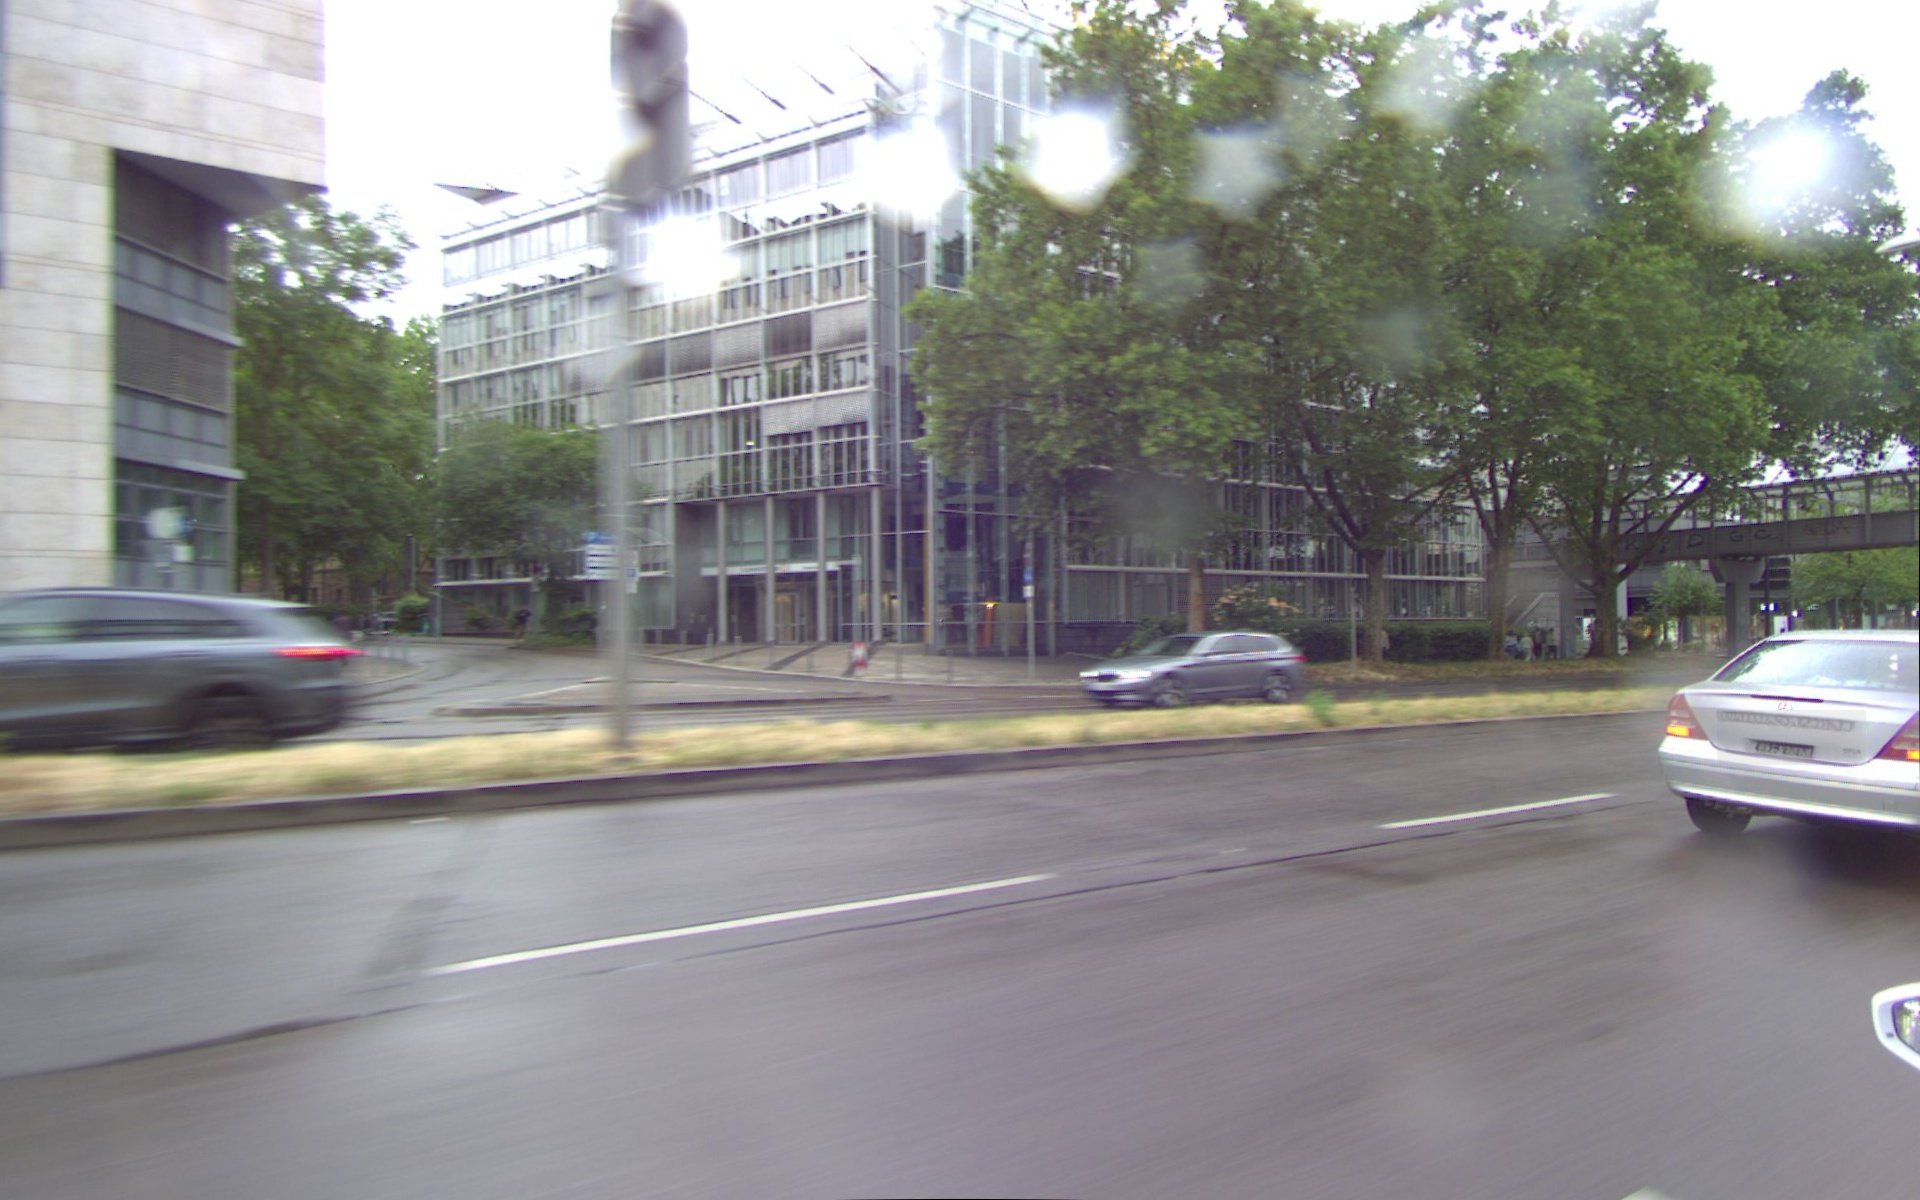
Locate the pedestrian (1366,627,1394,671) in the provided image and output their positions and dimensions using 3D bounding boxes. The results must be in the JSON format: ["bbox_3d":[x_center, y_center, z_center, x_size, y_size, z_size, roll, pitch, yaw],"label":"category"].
[{"bbox_3d":[17.478,2.026,41.780,0.793,1.831,0.731,1,-1,-30],"label":"pedestrian"}]

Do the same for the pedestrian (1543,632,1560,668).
[{"bbox_3d":[28.743,2.421,48.810,0.505,1.708,0.557,1,-1,-30],"label":"pedestrian"}]

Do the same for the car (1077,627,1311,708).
[{"bbox_3d":[4.723,1.316,20.023,4.704,1.457,1.683,2,-3,-31],"label":"car"}]

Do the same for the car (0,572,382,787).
[{"bbox_3d":[-7.849,0.666,8.944,4.627,1.702,1.865,2,-3,-31],"label":"car"}]

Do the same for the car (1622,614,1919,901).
[{"bbox_3d":[6.599,0.918,6.942,4.310,1.498,1.664,3,-1,-31],"label":"car"}]

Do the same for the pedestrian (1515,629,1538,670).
[{"bbox_3d":[25.528,2.233,45.275,0.751,1.831,0.593,1,-1,-30],"label":"pedestrian"}]

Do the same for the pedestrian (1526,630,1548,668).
[{"bbox_3d":[28.418,2.402,49.472,0.610,1.831,0.719,1,-1,-30],"label":"pedestrian"}]

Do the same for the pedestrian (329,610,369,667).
[{"bbox_3d":[-17.601,1.100,28.924,0.658,1.591,0.818,-1,-1,38],"label":"pedestrian"}]

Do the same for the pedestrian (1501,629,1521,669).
[{"bbox_3d":[25.135,2.233,45.826,0.505,1.831,0.602,1,-1,-30],"label":"pedestrian"}]

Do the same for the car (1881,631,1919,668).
[{"bbox_3d":[39.970,2.073,41.625,4.037,1.483,1.653,2,-4,-33],"label":"car"}]

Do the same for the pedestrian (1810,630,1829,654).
[{"bbox_3d":[62.841,3.097,73.447,1.045,1.738,0.739,1,-1,-31],"label":"pedestrian"}]

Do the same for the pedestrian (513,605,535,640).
[{"bbox_3d":[-20.947,1.072,48.259,0.647,1.652,0.740,-1,-1,38],"label":"pedestrian"}]
